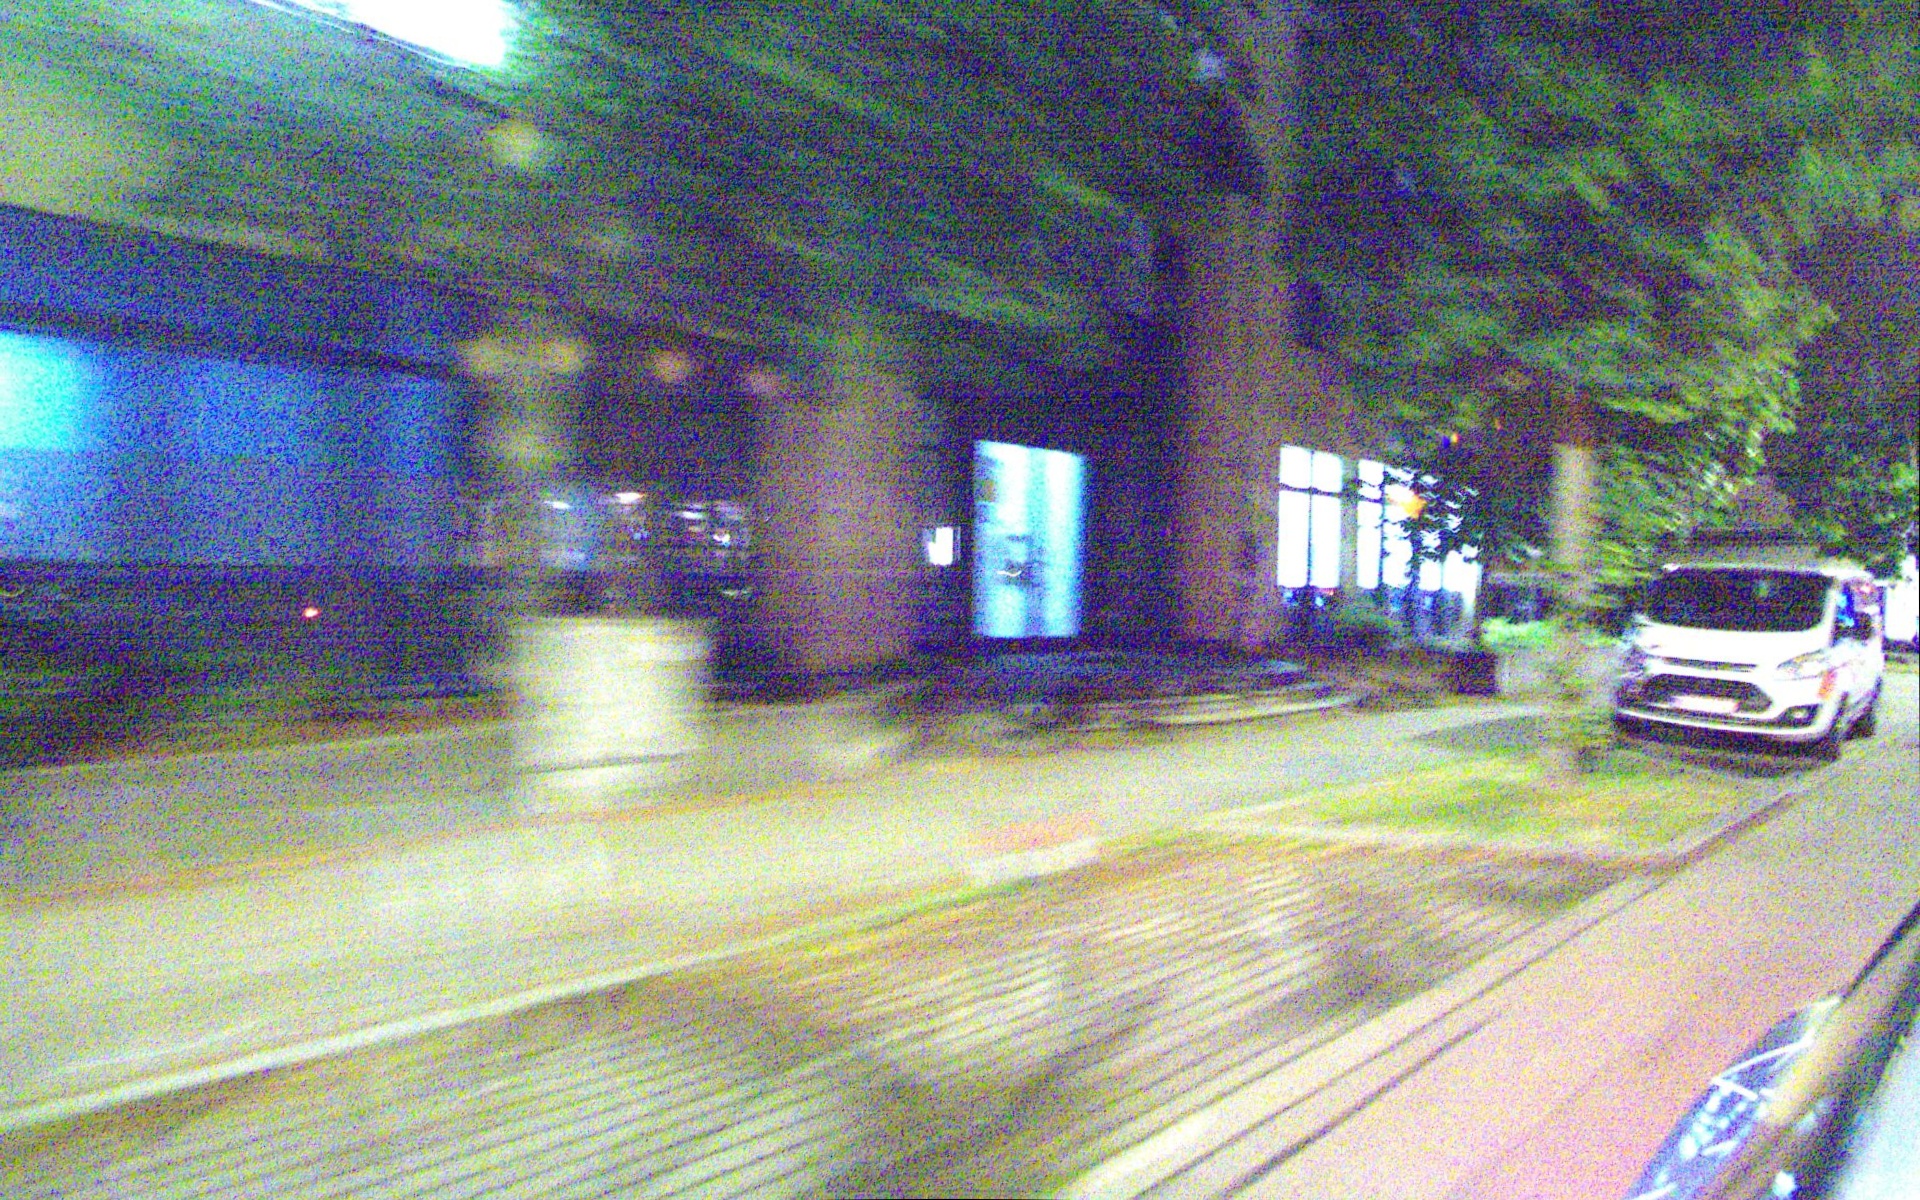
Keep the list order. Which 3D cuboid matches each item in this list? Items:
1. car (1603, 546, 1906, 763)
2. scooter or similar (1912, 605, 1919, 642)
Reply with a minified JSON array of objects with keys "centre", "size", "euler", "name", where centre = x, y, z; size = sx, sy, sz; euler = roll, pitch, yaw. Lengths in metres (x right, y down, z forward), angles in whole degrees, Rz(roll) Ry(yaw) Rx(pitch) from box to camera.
[{"centre":[9.201,0.474,11.575],"size":[4.524,1.988,1.954],"euler":[0,2,-42],"name":"car"},{"centre":[32.933,0.792,34.388],"size":[1.877,1.217,0.549],"euler":[-2,7,-41],"name":"scooter or similar"}]
